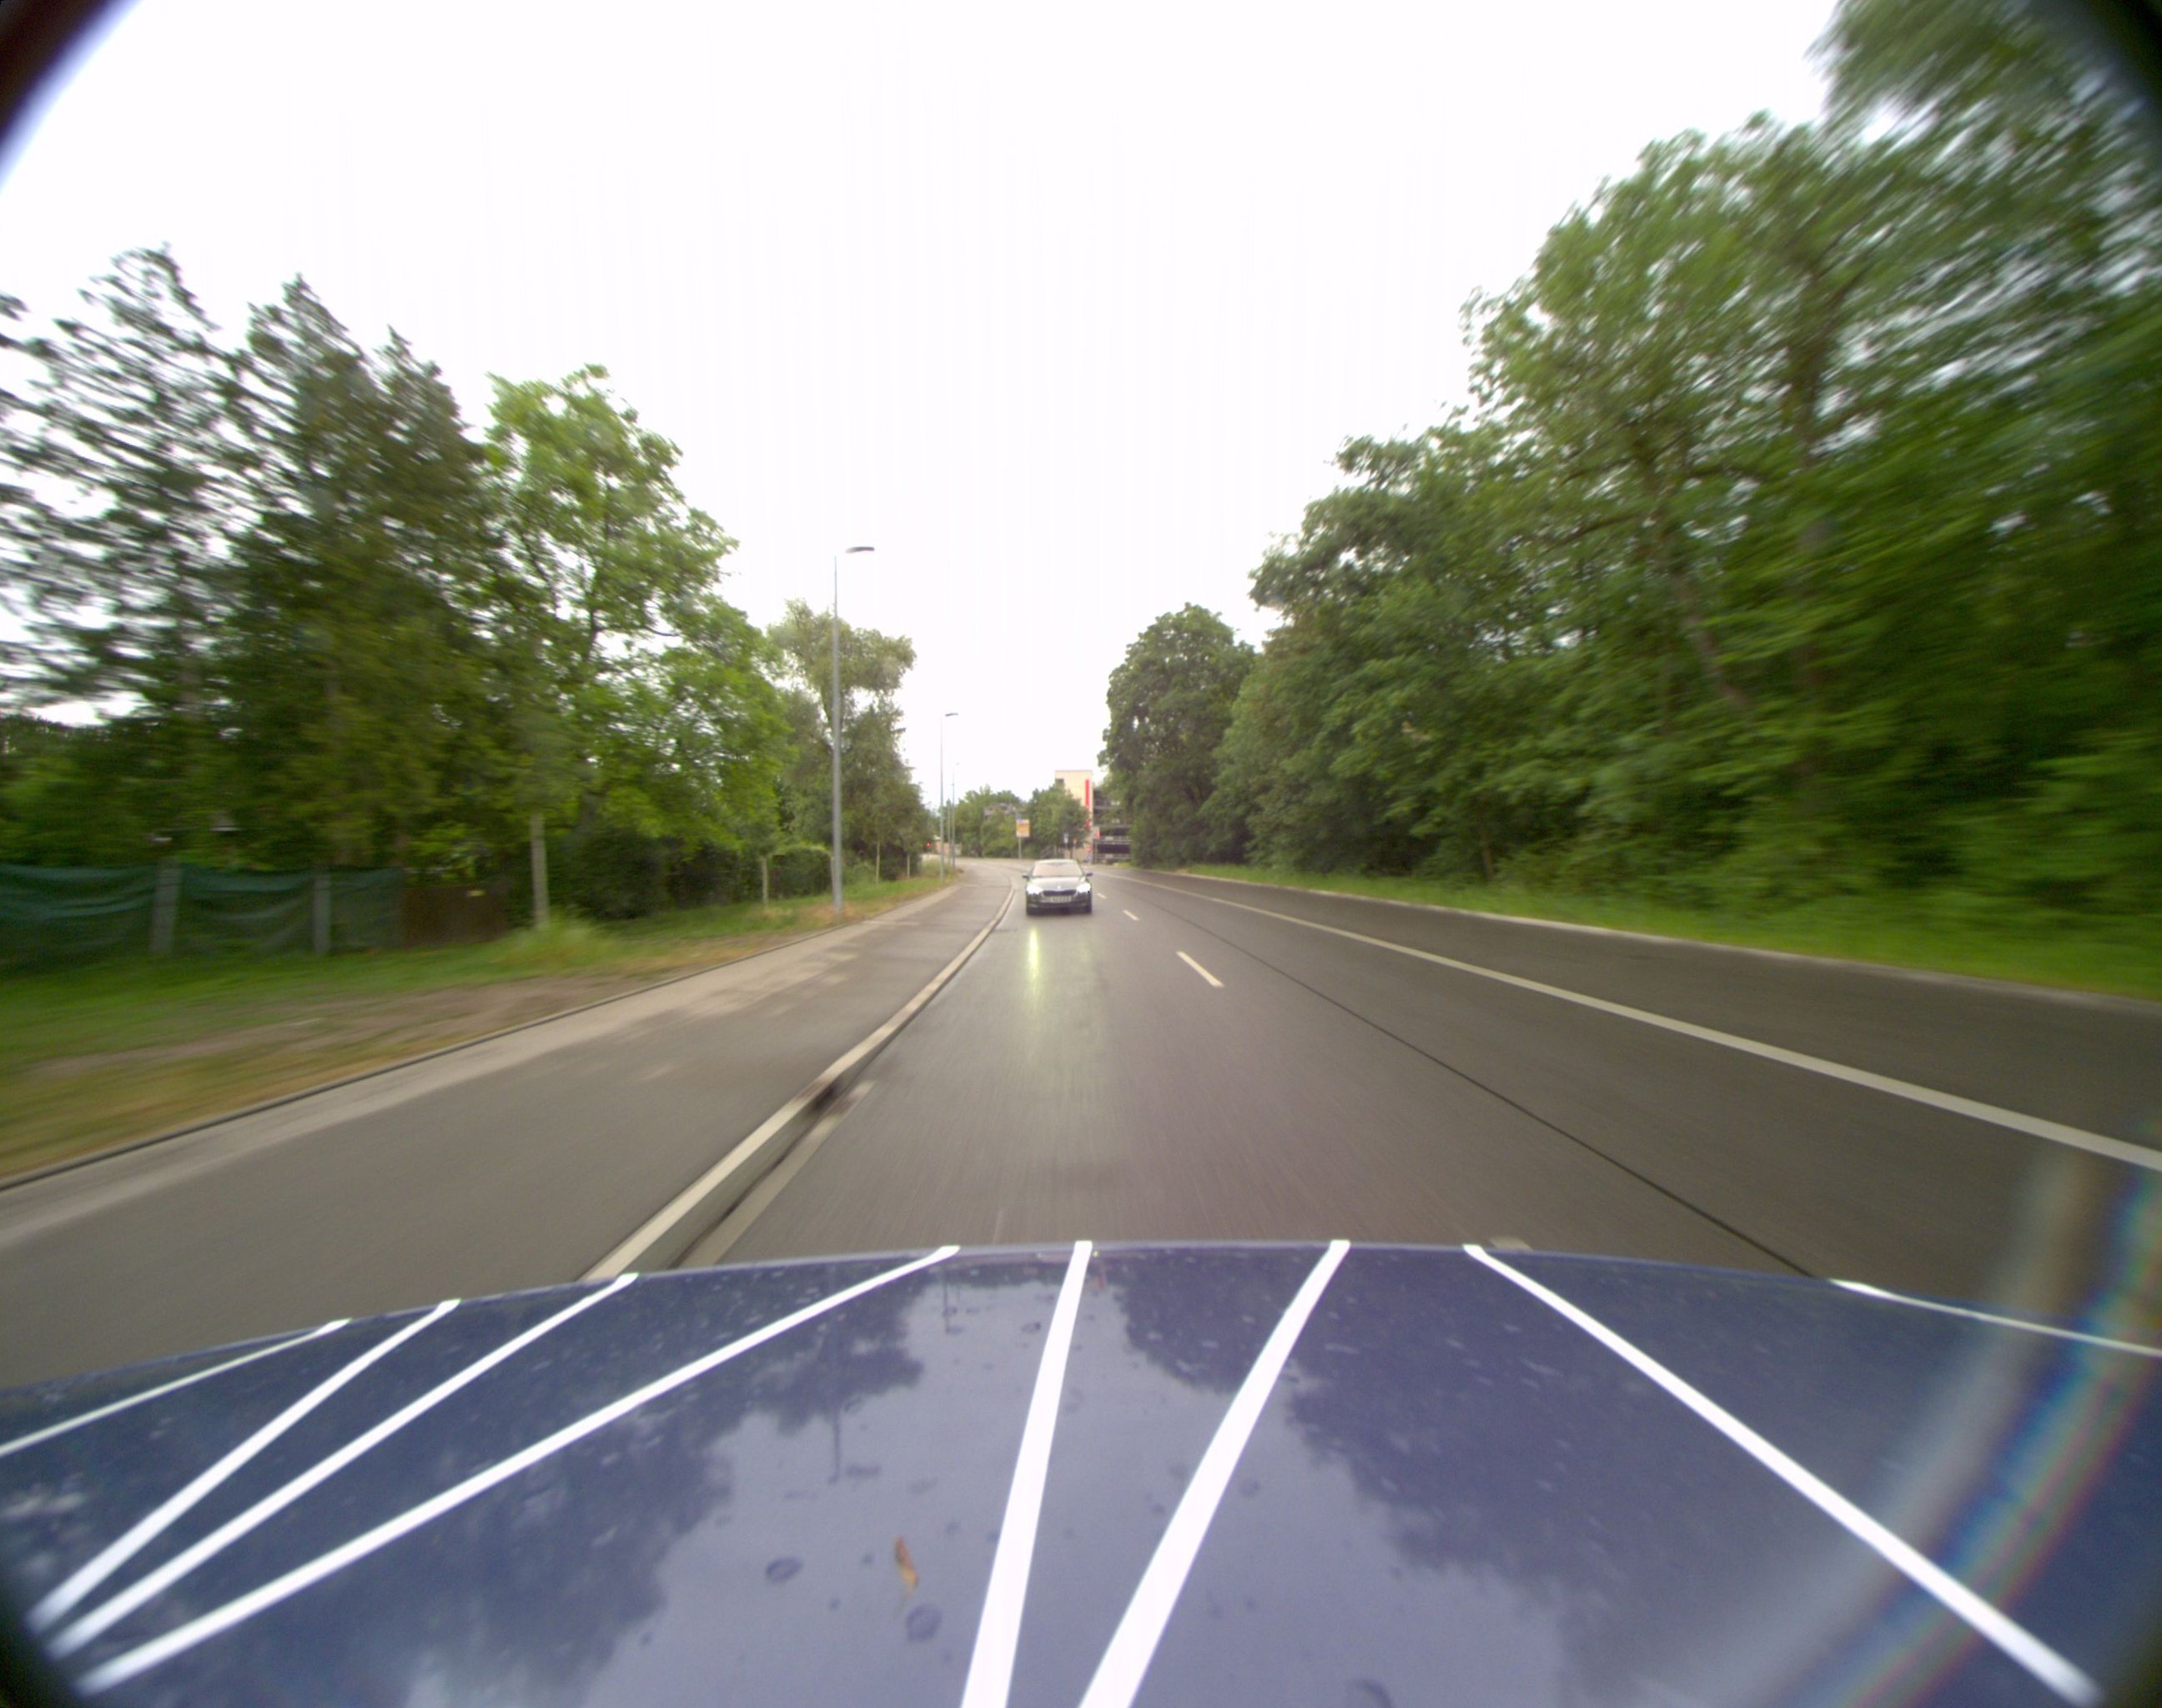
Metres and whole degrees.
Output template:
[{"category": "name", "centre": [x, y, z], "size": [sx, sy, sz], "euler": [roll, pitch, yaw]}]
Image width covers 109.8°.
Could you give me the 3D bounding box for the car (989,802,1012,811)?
[{"category": "car", "centre": [-15.471, -9.073, 146.267], "size": [3.995, 1.510, 2.001], "euler": [1, 1, 6]}]

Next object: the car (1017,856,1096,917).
[{"category": "car", "centre": [-0.602, 0.847, 21.650], "size": [1.838, 1.448, 4.202], "euler": [-1, 1, 3]}]

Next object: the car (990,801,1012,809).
[{"category": "car", "centre": [-15.742, -9.706, 150.343], "size": [3.995, 1.510, 2.001], "euler": [1, 1, 6]}]
